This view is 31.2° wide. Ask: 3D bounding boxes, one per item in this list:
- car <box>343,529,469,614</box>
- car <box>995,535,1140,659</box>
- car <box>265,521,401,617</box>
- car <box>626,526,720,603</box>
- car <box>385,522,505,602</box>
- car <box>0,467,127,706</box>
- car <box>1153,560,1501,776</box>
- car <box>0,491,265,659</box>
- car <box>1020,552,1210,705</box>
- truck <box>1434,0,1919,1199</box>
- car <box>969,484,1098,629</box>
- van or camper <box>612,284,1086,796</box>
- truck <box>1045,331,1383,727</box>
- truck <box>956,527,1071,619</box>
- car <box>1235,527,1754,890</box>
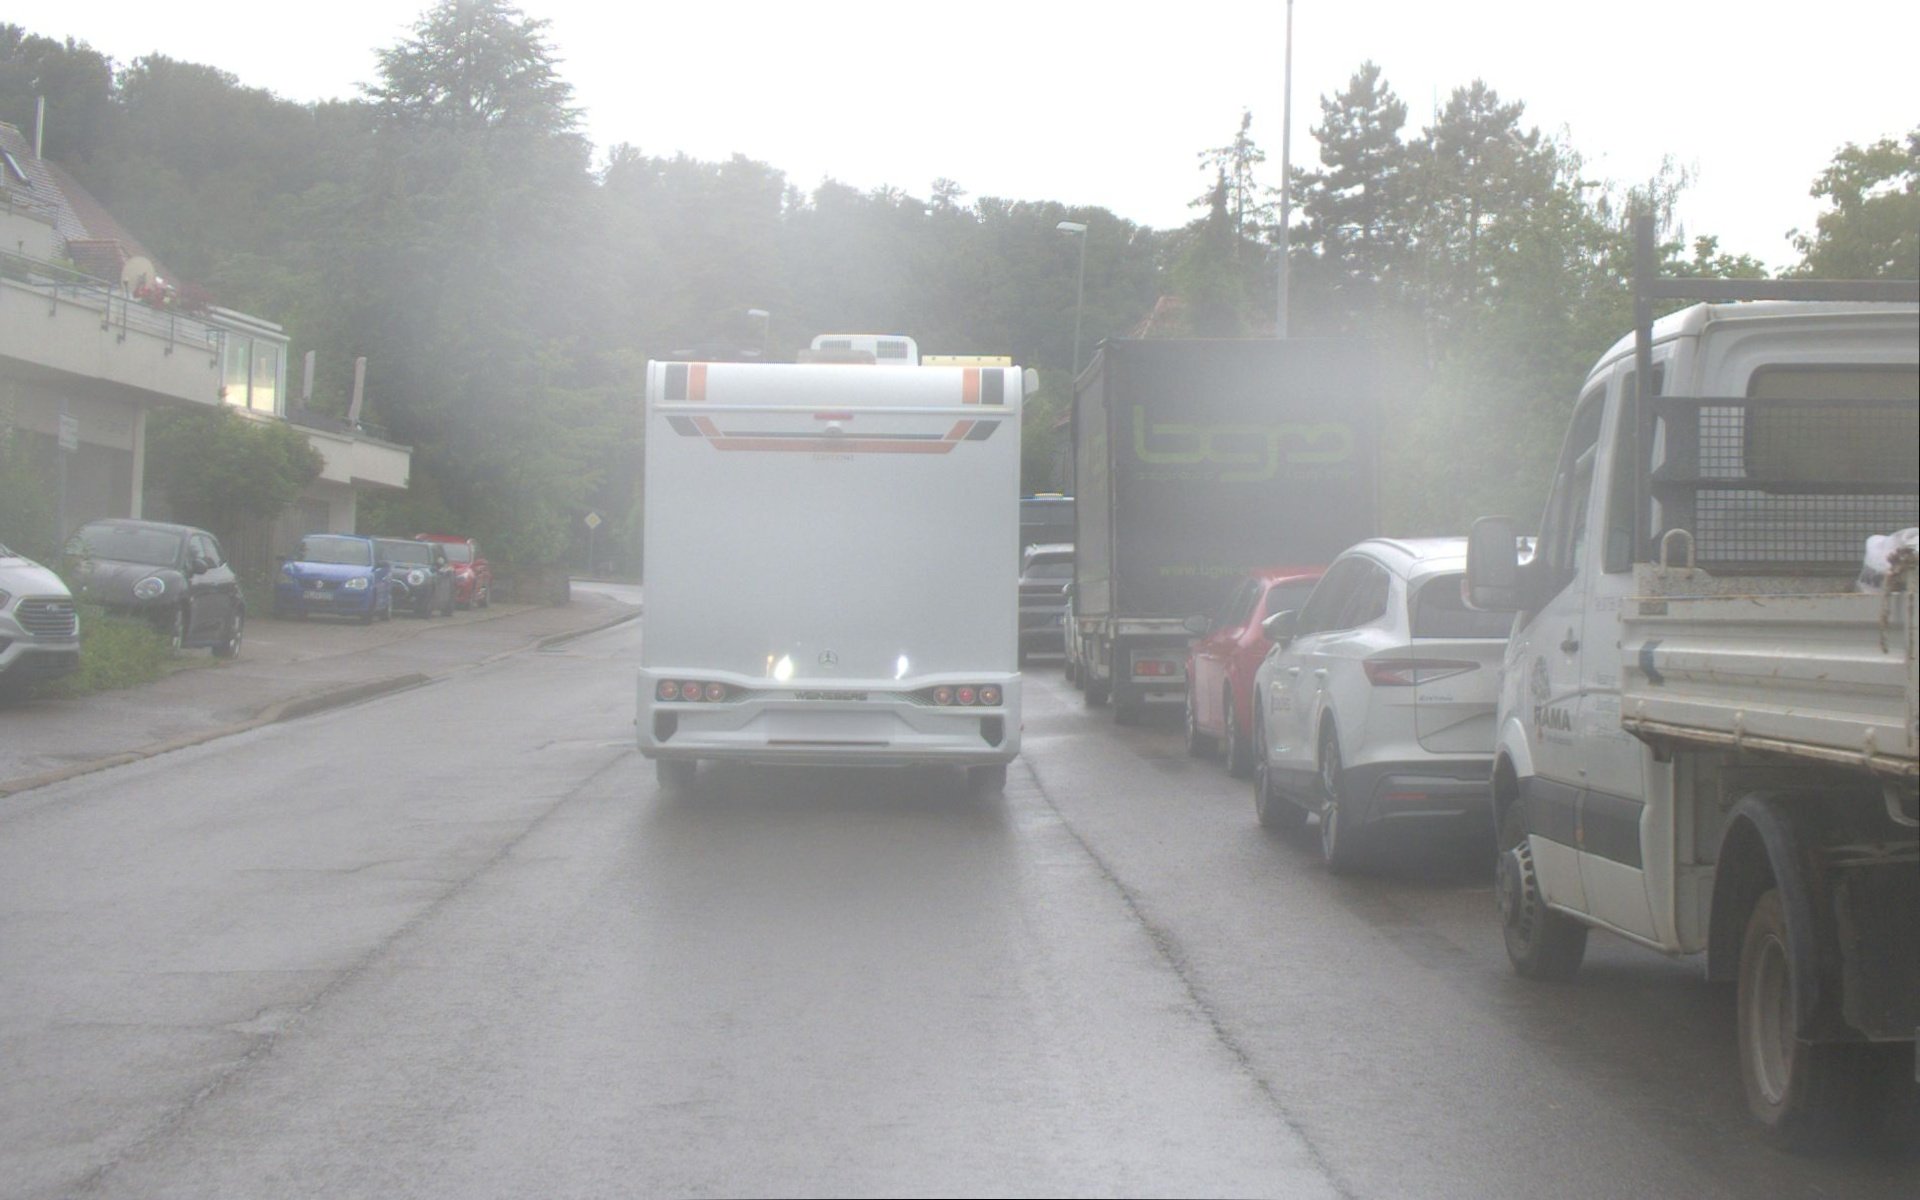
[{"bbox_3d":[-10.263,-0.549,63.895,1.633,1.391,4.239,5,1,-1],"label":"car"},{"bbox_3d":[1.475,-0.072,48.900,1.936,1.666,4.694,0,1,0],"label":"car"},{"bbox_3d":[-10.526,-0.544,57.965,1.607,1.429,3.959,5,1,-2],"label":"car"},{"bbox_3d":[-6.340,-0.804,76.257,1.906,1.602,4.429,2,1,-3],"label":"car"},{"bbox_3d":[-10.725,-0.805,71.898,1.774,1.432,4.588,6,1,-1],"label":"car"},{"bbox_3d":[-9.948,-0.141,29.397,5.088,1.938,2.140,1,1,15],"label":"car"},{"bbox_3d":[2.581,0.433,25.348,1.832,1.433,4.987,0,0,-2],"label":"car"},{"bbox_3d":[-9.286,-0.303,38.922,1.689,1.583,4.197,8,1,2],"label":"car"},{"bbox_3d":[1.762,0.293,40.703,1.846,1.678,5.639,0,0,-1],"label":"car"},{"bbox_3d":[3.013,0.047,10.288,2.239,2.622,6.538,0,0,0],"label":"truck"},{"bbox_3d":[1.284,-0.803,62.360,2.031,2.497,5.956,0,1,-2],"label":"car"},{"bbox_3d":[-0.680,-0.307,22.802,2.615,2.843,6.031,2,-1,-1],"label":"van or camper"},{"bbox_3d":[2.238,-0.629,32.956,2.436,3.324,7.965,0,0,-1],"label":"truck"},{"bbox_3d":[1.121,-0.622,76.004,2.113,1.845,6.619,3,1,-2],"label":"truck"},{"bbox_3d":[2.549,0.462,17.522,1.759,1.599,4.667,0,0,-2],"label":"car"}]
